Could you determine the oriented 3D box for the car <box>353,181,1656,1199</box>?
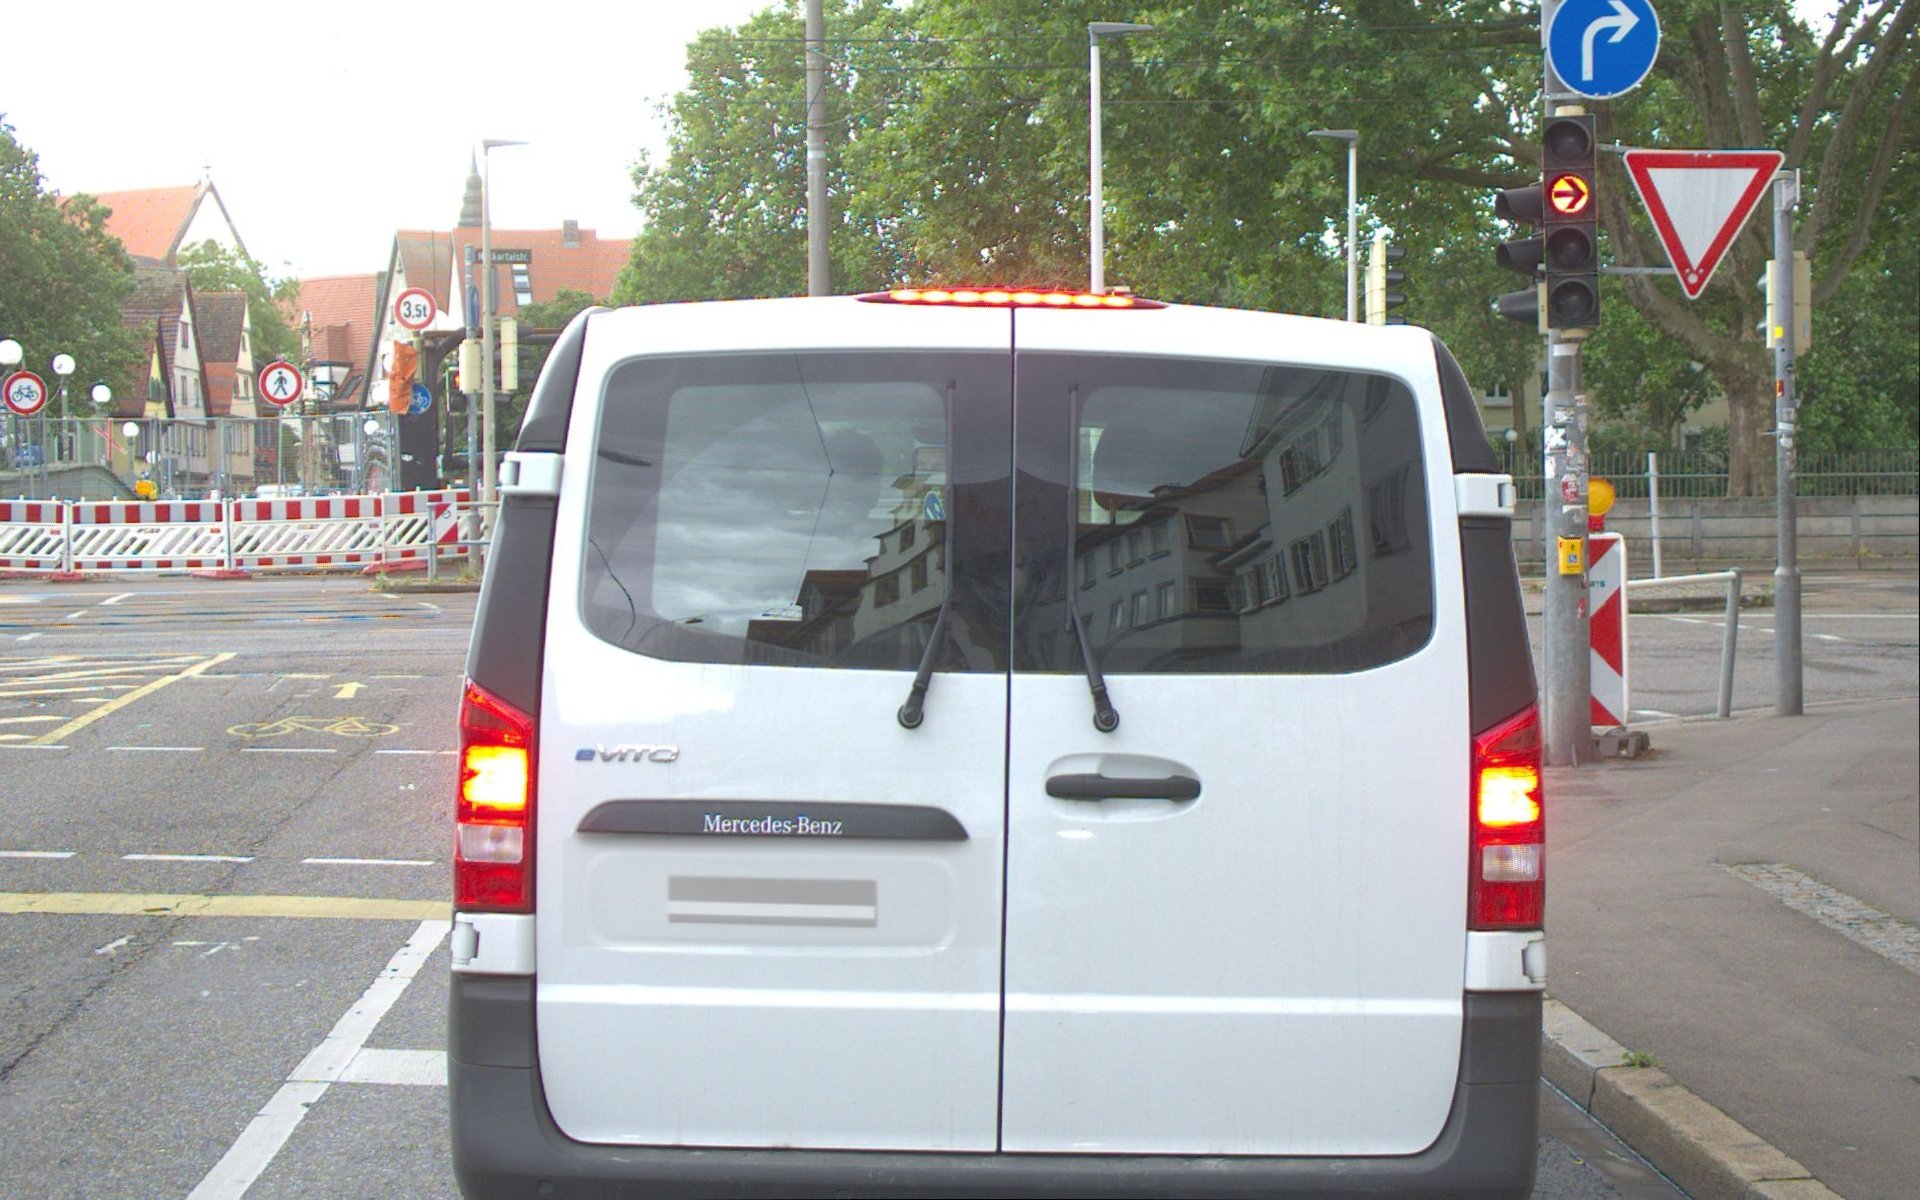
[{"bbox_3d":[0.034,0.288,7.557,1.951,2.006,4.699,1,2,-1],"label":"car"}]
